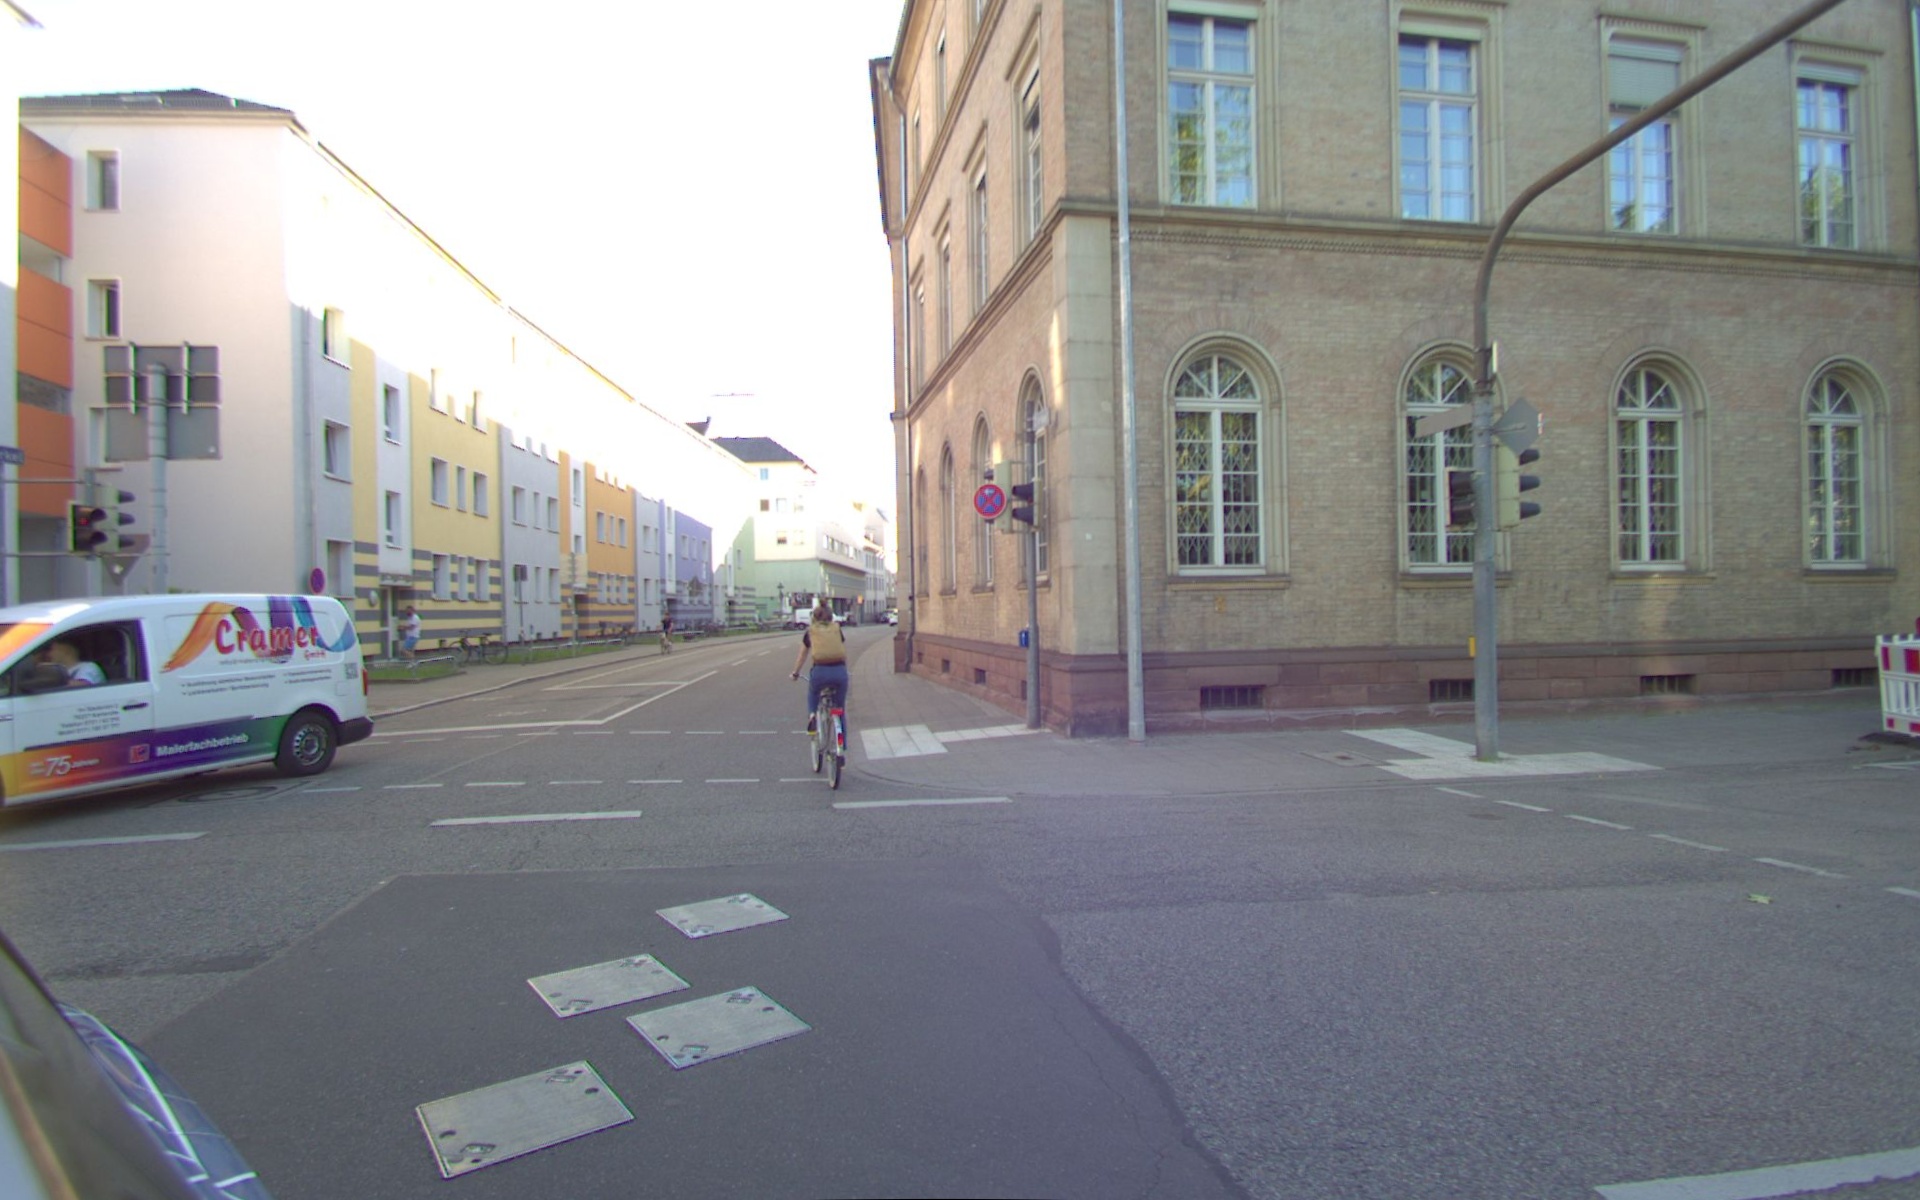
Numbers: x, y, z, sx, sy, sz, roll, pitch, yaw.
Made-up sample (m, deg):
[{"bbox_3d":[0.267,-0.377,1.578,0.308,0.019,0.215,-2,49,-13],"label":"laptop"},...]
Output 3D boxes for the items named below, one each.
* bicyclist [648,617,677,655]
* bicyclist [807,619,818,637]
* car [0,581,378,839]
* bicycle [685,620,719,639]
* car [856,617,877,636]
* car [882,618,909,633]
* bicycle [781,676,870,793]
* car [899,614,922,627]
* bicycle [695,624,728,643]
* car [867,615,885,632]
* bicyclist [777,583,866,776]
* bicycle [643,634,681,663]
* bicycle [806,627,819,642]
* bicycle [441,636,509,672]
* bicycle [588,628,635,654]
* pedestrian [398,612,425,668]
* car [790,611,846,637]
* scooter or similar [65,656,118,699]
[{"bbox_3d":[-11.300,1.381,38.416,0.781,1.383,0.838,-3,-3,2],"label":"bicyclist"},{"bbox_3d":[-10.820,2.030,74.259,0.668,1.269,0.822,-1,-1,-2],"label":"bicyclist"},{"bbox_3d":[-7.610,0.814,8.367,1.979,1.830,5.106,-2,-1,11],"label":"car"},{"bbox_3d":[-14.970,1.704,58.718,1.845,1.077,0.712,-1,0,-11],"label":"bicycle"},{"bbox_3d":[-10.565,2.935,114.159,1.972,2.029,4.000,-1,-1,0],"label":"car"},{"bbox_3d":[-6.157,2.440,97.312,2.079,1.350,4.703,-1,-1,2],"label":"car"},{"bbox_3d":[-1.263,1.173,9.245,0.487,0.931,1.827,-1,-4,-17],"label":"bicycle"},{"bbox_3d":[-5.359,2.227,110.457,2.079,1.350,4.702,-1,-1,3],"label":"car"},{"bbox_3d":[-14.869,2.011,60.550,1.843,1.077,0.713,-1,0,-19],"label":"bicycle"},{"bbox_3d":[-10.468,2.884,126.289,1.972,2.029,4.000,-1,-1,0],"label":"car"},{"bbox_3d":[-1.285,0.693,9.281,0.634,1.659,0.857,-1,-1,-17],"label":"bicyclist"},{"bbox_3d":[-11.278,1.844,38.382,0.779,1.006,1.991,-3,-3,2],"label":"bicycle"},{"bbox_3d":[-10.814,2.524,74.222,0.668,1.119,1.797,-1,-1,-1],"label":"bicycle"},{"bbox_3d":[-14.272,1.590,29.819,1.729,1.000,0.542,-1,0,-14],"label":"bicycle"},{"bbox_3d":[-15.182,1.769,44.091,1.845,1.077,0.712,-1,0,-11],"label":"bicycle"},{"bbox_3d":[-14.538,1.052,26.815,0.552,1.472,0.600,0,-1,-36],"label":"pedestrian"},{"bbox_3d":[-12.226,2.059,87.192,4.635,2.029,2.002,-1,-1,-5],"label":"car"},{"bbox_3d":[-17.262,1.540,20.122,0.732,0.794,0.302,-1,0,-26],"label":"scooter or similar"}]
